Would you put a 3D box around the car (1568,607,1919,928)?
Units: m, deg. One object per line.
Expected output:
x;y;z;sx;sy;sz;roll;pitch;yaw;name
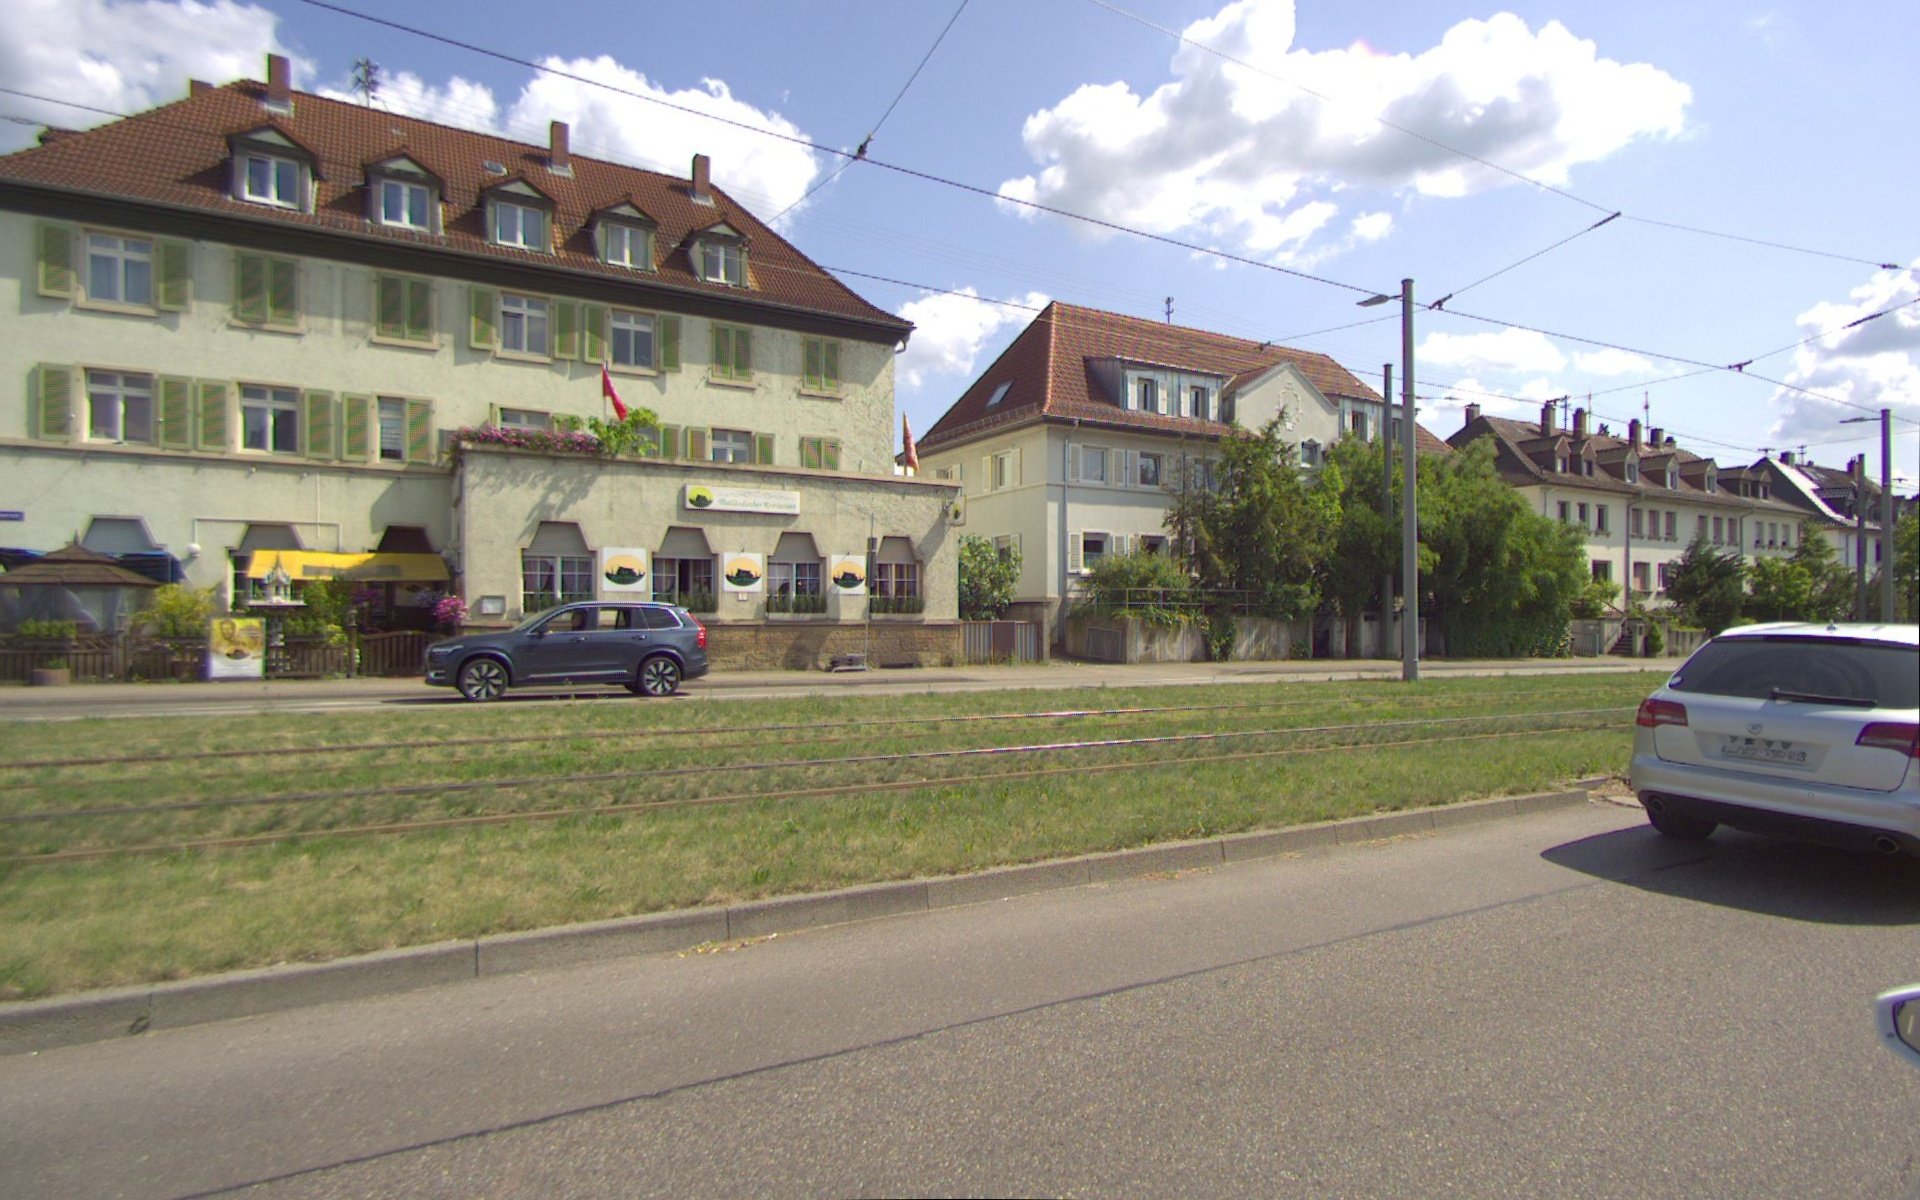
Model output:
6.175;0.849;6.594;4.668;1.491;1.785;2;0;-31;car

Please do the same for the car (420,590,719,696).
-7.148;0.782;18.573;4.881;1.734;2.004;2;-2;-32;car
